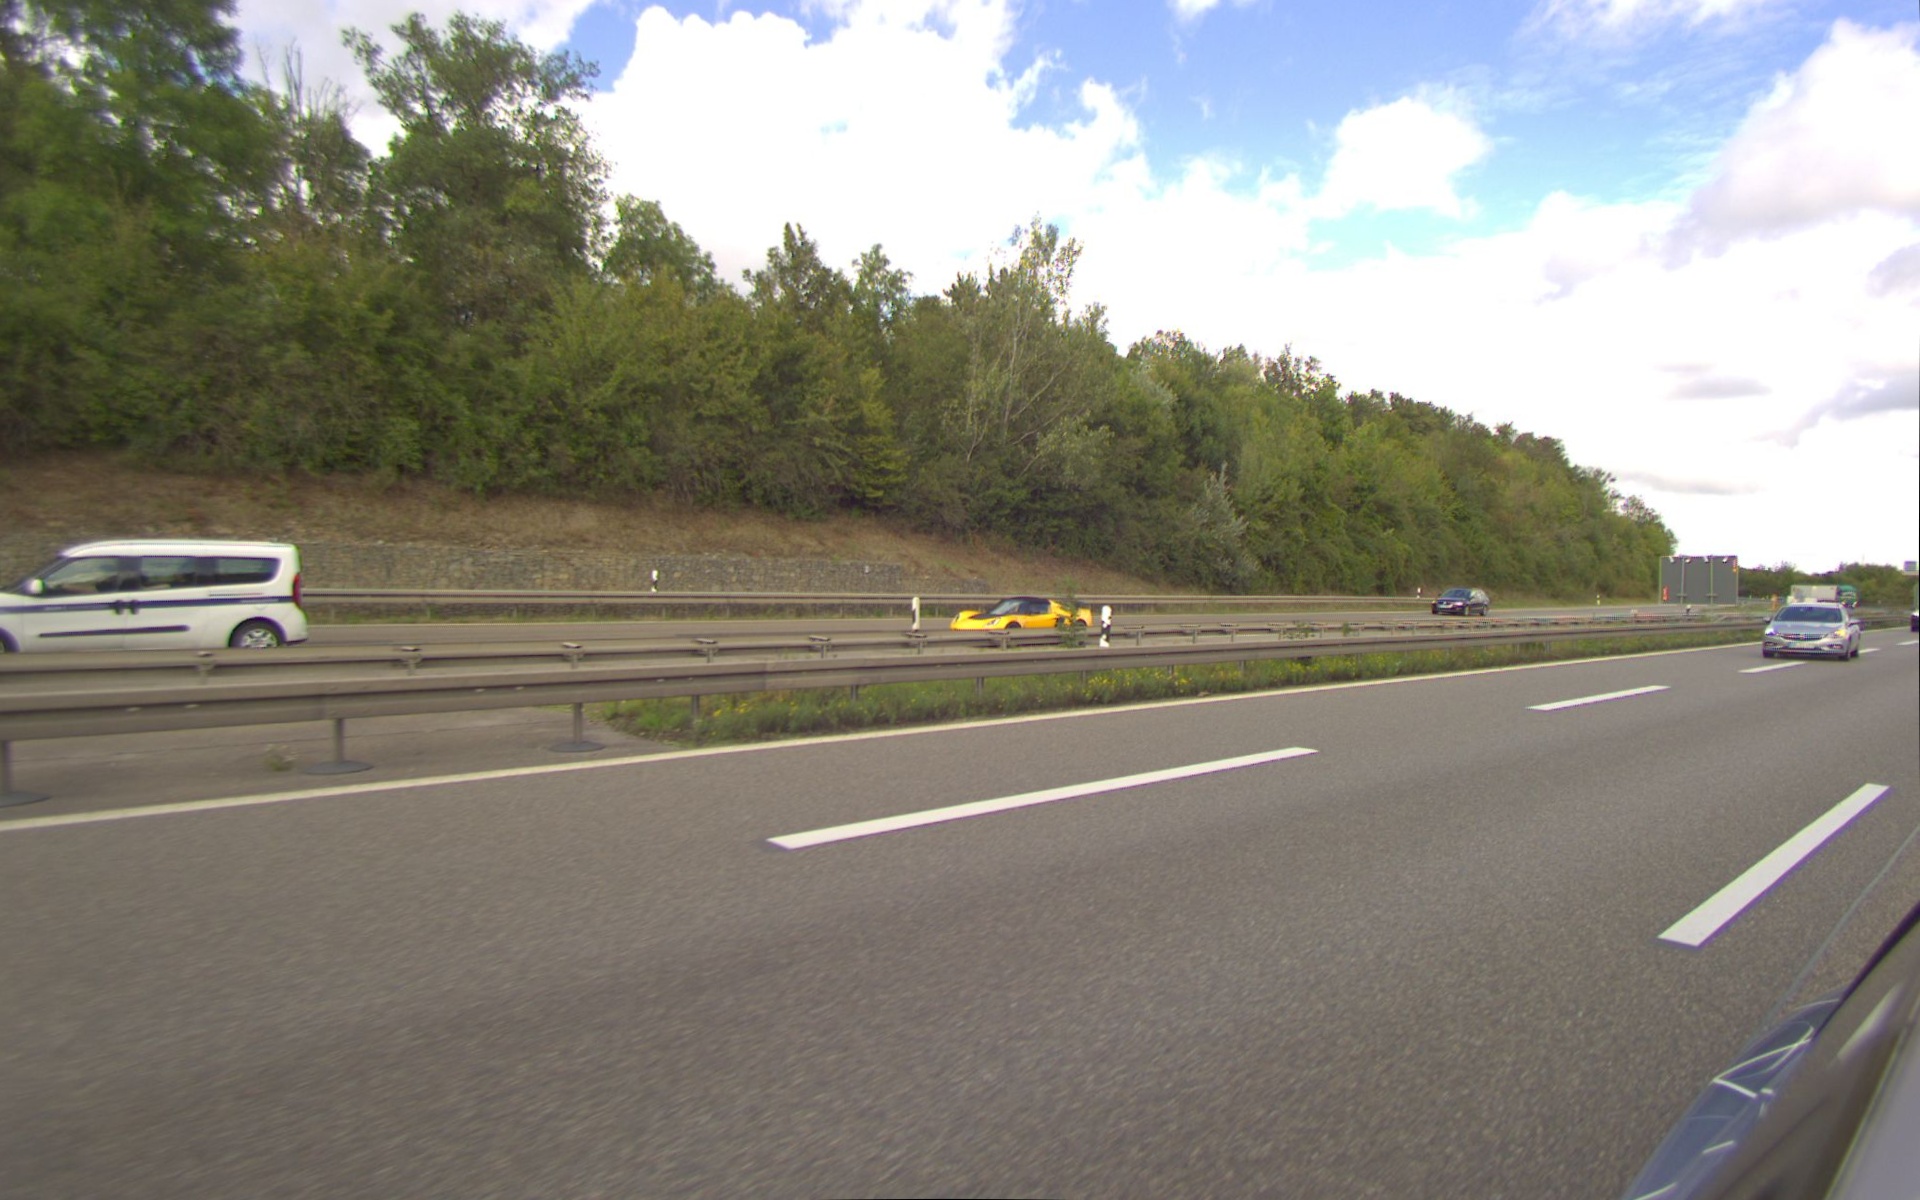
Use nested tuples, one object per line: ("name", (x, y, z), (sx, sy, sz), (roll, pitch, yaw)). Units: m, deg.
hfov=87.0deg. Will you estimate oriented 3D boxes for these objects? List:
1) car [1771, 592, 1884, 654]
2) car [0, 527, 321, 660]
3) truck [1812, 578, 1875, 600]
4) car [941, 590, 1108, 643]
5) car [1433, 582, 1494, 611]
("car", (23.451, 0.568, 27.305), (4.536, 1.503, 1.686), (0, 1, -41))
("car", (-12.408, -0.097, 15.062), (4.680, 1.774, 1.847), (0, 1, -41))
("truck", (165.984, -2.096, 190.276), (2.925, 3.845, 13.407), (1, 1, 13))
("car", (1.635, 0.369, 24.815), (4.096, 1.196, 1.715), (0, 1, -41))
("car", (27.192, -0.190, 54.588), (1.713, 1.433, 4.101), (2, 2, 45))
